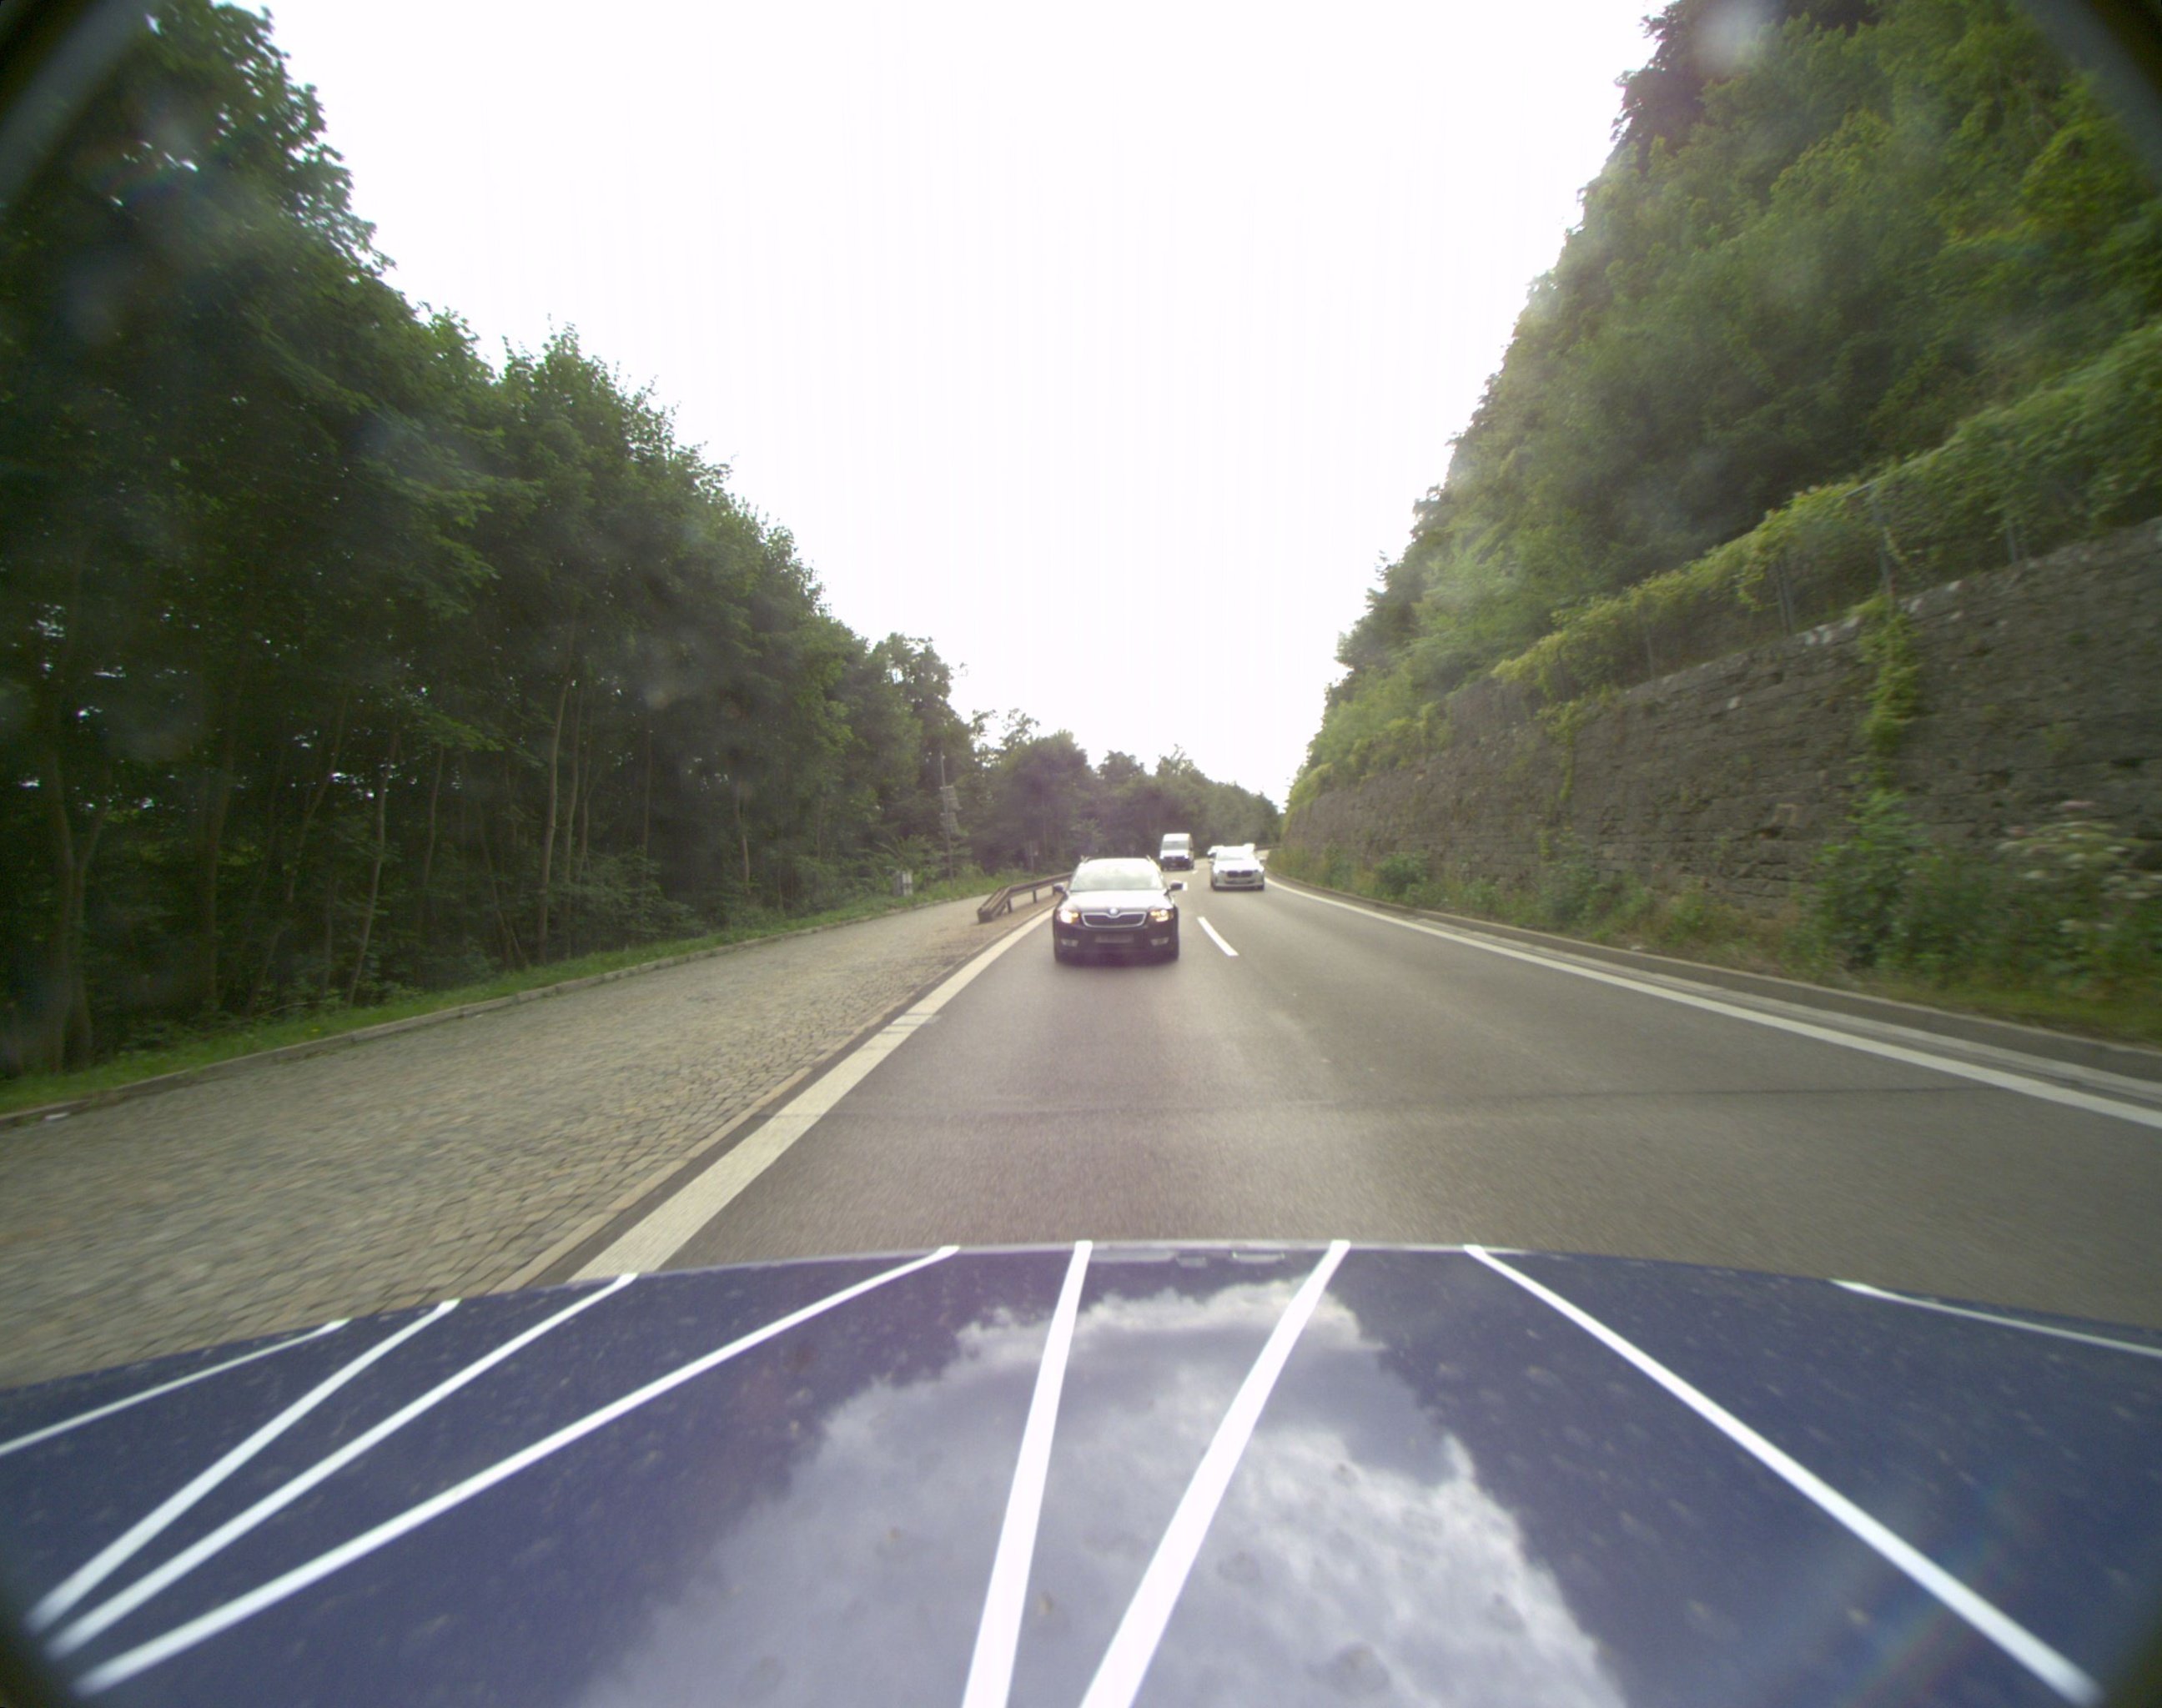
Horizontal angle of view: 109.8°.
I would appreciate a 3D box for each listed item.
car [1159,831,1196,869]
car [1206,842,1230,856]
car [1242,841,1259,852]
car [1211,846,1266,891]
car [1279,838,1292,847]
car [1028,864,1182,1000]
[{"bbox_3d":[6.910,-0.290,53.961,2.097,2.547,5.924,-1,0,12],"label":"car"},{"bbox_3d":[15.360,-0.568,84.866,1.820,1.546,4.006,-1,0,22],"label":"car"},{"bbox_3d":[24.611,-1.031,110.036,1.820,1.546,4.006,-1,0,21],"label":"car"},{"bbox_3d":[5.892,0.519,28.741,1.822,1.546,4.003,-1,0,9],"label":"car"},{"bbox_3d":[39.016,-2.181,145.026,1.820,1.546,4.007,-1,0,25],"label":"car"},{"bbox_3d":[0.484,0.886,10.463,1.637,1.384,4.500,-1,0,6],"label":"car"}]
